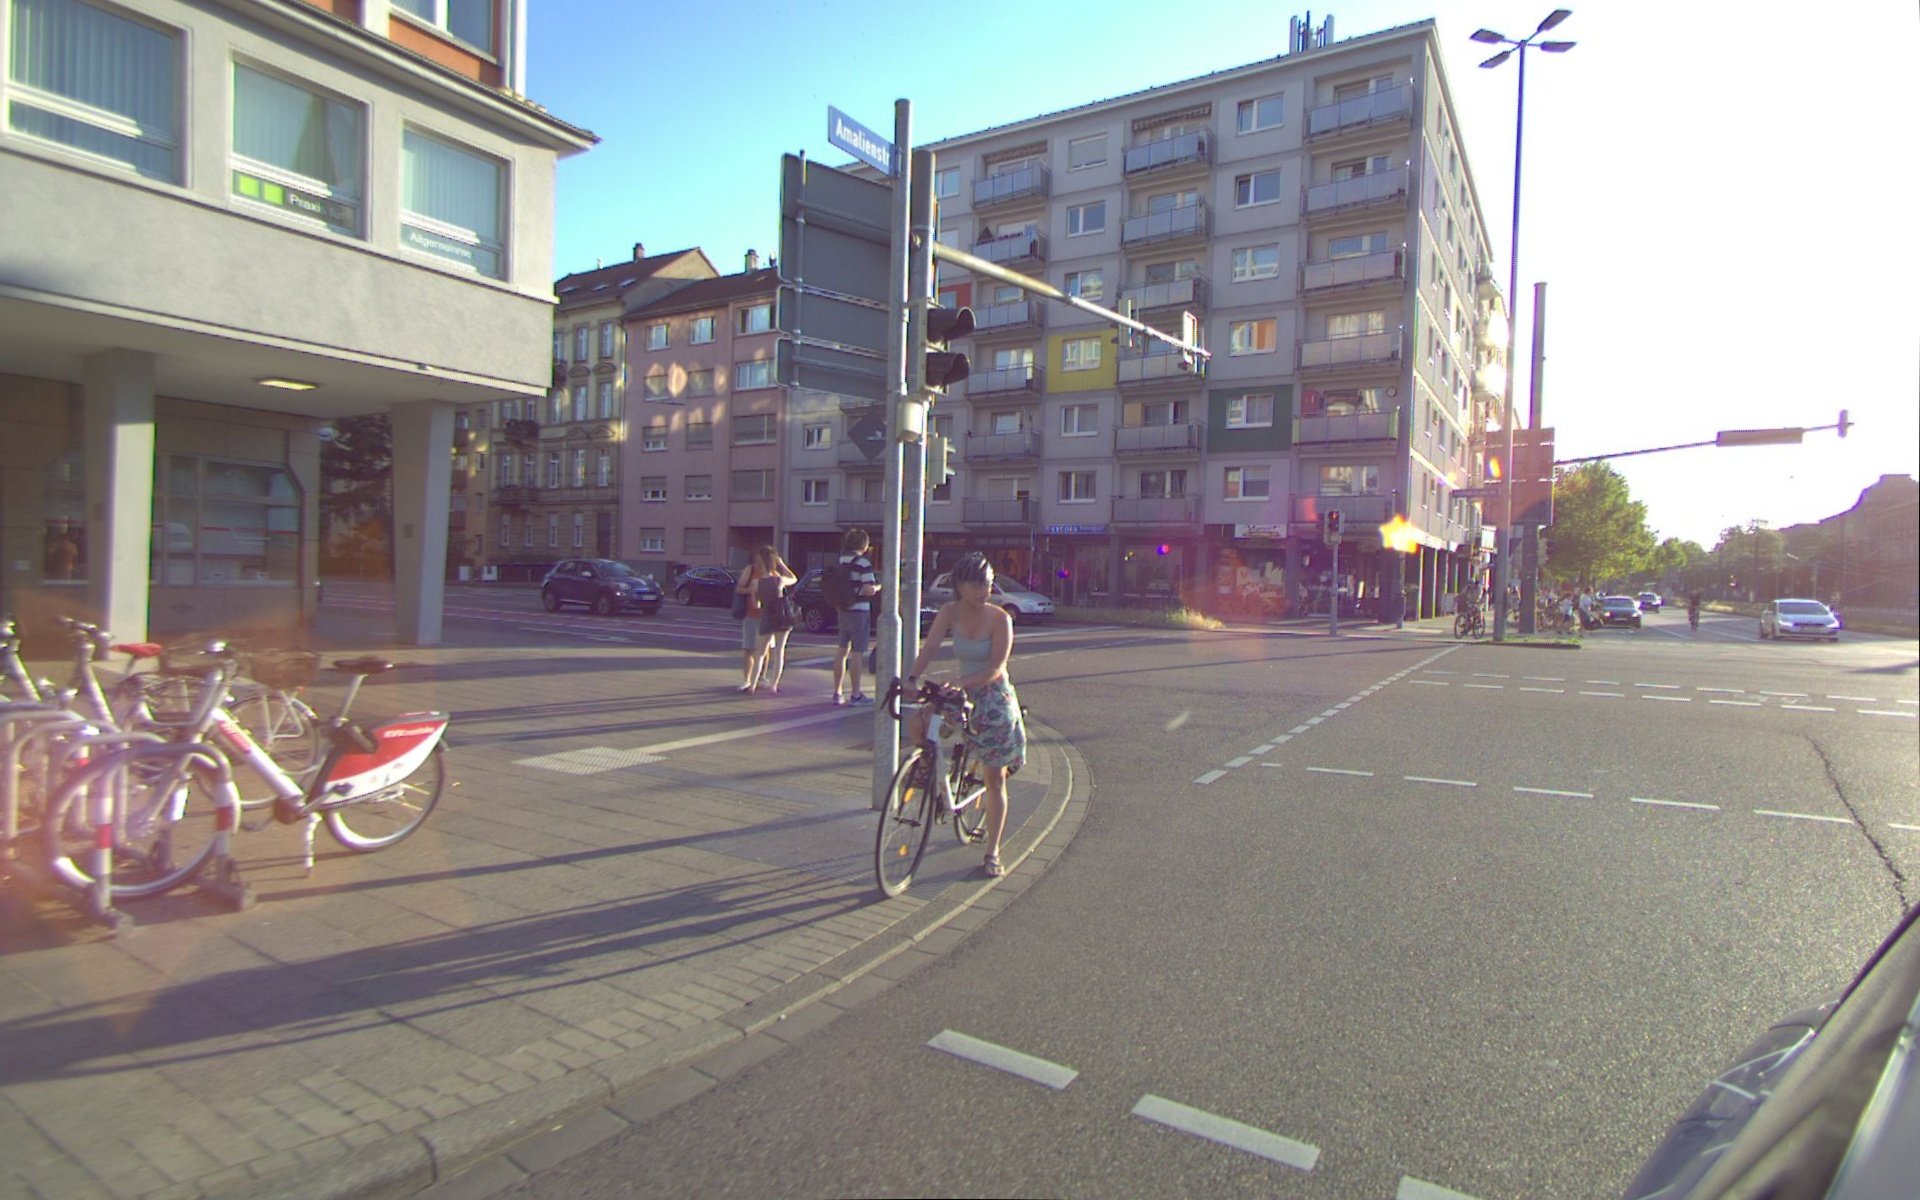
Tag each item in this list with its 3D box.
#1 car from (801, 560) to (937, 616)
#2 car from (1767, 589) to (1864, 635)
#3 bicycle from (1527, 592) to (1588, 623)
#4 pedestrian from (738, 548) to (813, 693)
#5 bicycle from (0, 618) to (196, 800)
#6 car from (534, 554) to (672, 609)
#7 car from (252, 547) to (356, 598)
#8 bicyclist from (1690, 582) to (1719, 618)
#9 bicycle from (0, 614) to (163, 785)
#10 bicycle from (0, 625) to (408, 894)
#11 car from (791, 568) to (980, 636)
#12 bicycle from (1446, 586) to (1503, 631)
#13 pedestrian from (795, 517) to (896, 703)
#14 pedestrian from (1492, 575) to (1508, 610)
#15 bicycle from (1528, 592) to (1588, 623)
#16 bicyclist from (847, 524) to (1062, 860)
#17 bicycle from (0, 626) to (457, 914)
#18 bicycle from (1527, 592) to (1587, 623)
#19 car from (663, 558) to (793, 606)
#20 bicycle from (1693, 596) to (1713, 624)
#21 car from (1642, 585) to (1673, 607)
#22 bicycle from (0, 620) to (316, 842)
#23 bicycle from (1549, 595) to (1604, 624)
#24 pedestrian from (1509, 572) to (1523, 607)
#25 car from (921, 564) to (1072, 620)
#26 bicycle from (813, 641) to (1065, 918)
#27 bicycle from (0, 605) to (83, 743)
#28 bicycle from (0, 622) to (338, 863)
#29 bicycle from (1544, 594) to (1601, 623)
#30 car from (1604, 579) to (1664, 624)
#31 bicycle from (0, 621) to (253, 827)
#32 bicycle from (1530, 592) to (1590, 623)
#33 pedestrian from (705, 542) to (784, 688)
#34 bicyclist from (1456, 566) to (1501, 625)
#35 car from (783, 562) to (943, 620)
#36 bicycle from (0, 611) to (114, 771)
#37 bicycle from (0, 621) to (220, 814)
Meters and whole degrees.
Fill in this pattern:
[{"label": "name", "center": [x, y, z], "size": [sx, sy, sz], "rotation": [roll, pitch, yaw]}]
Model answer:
[{"label": "car", "center": [-2.879, -0.406, 31.556], "size": [4.157, 1.541, 1.638], "rotation": [3, 2, 36]}, {"label": "car", "center": [30.257, 0.394, 35.909], "size": [1.940, 1.512, 3.916], "rotation": [1, 1, 30]}, {"label": "bicycle", "center": [22.490, 0.276, 38.134], "size": [1.946, 1.134, 0.452], "rotation": [2, 0, 36]}, {"label": "pedestrian", "center": [-2.192, 0.221, 12.056], "size": [0.515, 1.665, 0.698], "rotation": [2, 1, 36]}, {"label": "bicycle", "center": [-5.733, 0.650, 6.145], "size": [0.361, 1.040, 1.778], "rotation": [1, 1, 25]}, {"label": "car", "center": [-10.467, -0.560, 29.608], "size": [3.894, 1.469, 1.784], "rotation": [2, 1, 32]}, {"label": "car", "center": [-21.682, -0.913, 33.404], "size": [4.090, 1.596, 1.717], "rotation": [2, 1, 39]}, {"label": "bicyclist", "center": [33.336, 0.006, 45.335], "size": [0.989, 1.557, 0.912], "rotation": [1, 0, 34]}, {"label": "bicycle", "center": [-6.119, 0.627, 6.347], "size": [0.361, 1.040, 1.778], "rotation": [1, 1, 25]}, {"label": "bicycle", "center": [-3.665, 0.670, 4.973], "size": [0.357, 1.040, 1.777], "rotation": [1, 1, 27]}, {"label": "car", "center": [-1.780, -0.015, 23.825], "size": [4.159, 1.443, 1.910], "rotation": [1, 3, 33]}, {"label": "bicycle", "center": [14.078, 0.226, 27.678], "size": [1.933, 1.197, 0.491], "rotation": [1, 0, -33]}, {"label": "pedestrian", "center": [-1.275, 0.091, 11.299], "size": [0.698, 1.981, 0.837], "rotation": [3, 2, 35]}, {"label": "pedestrian", "center": [31.778, -0.443, 59.553], "size": [0.713, 2.039, 0.639], "rotation": [2, 1, 34]}, {"label": "bicycle", "center": [23.050, 0.285, 39.012], "size": [1.946, 1.134, 0.452], "rotation": [2, 0, 36]}, {"label": "bicyclist", "center": [-0.007, 0.399, 5.053], "size": [0.790, 1.499, 0.800], "rotation": [1, 0, 26]}, {"label": "bicycle", "center": [-3.275, 0.673, 4.751], "size": [0.357, 1.040, 1.778], "rotation": [1, 1, 26]}, {"label": "bicycle", "center": [22.753, 0.282, 38.577], "size": [1.946, 1.134, 0.452], "rotation": [2, 0, 36]}, {"label": "car", "center": [-8.074, -0.641, 35.065], "size": [4.505, 1.514, 1.686], "rotation": [2, 1, 32]}, {"label": "bicycle", "center": [33.355, 0.417, 45.434], "size": [0.571, 1.215, 2.180], "rotation": [1, 1, 32]}, {"label": "car", "center": [57.695, -0.331, 83.748], "size": [1.987, 1.771, 3.950], "rotation": [2, 1, 35]}, {"label": "bicycle", "center": [-4.580, 0.659, 5.610], "size": [0.365, 1.040, 1.778], "rotation": [1, 1, 25]}, {"label": "bicycle", "center": [25.884, 0.391, 42.512], "size": [1.946, 1.134, 0.452], "rotation": [2, 0, 36]}, {"label": "pedestrian", "center": [32.732, -0.634, 59.546], "size": [0.651, 2.039, 0.742], "rotation": [0, 0, 34]}, {"label": "car", "center": [0.995, -0.267, 28.921], "size": [3.992, 1.487, 1.893], "rotation": [2, 1, 39]}, {"label": "bicycle", "center": [-0.018, 0.774, 5.073], "size": [0.510, 1.040, 1.778], "rotation": [1, 1, 25]}, {"label": "bicycle", "center": [-7.601, 0.565, 7.415], "size": [0.361, 1.040, 1.778], "rotation": [1, 1, 25]}, {"label": "bicycle", "center": [-4.206, 0.660, 5.222], "size": [0.357, 1.040, 1.778], "rotation": [1, 1, 26]}, {"label": "bicycle", "center": [25.257, 0.360, 41.754], "size": [1.946, 1.134, 0.452], "rotation": [2, 0, 36]}, {"label": "car", "center": [32.353, 0.067, 48.670], "size": [1.982, 2.039, 3.960], "rotation": [1, 1, 28]}, {"label": "bicycle", "center": [-5.040, 0.665, 5.701], "size": [0.357, 1.040, 1.778], "rotation": [1, 1, 26]}, {"label": "bicycle", "center": [23.373, 0.282, 39.442], "size": [1.946, 1.134, 0.452], "rotation": [2, 0, 36]}, {"label": "pedestrian", "center": [-2.628, 0.167, 12.376], "size": [0.515, 1.714, 0.762], "rotation": [3, 2, 36]}, {"label": "bicyclist", "center": [14.225, -0.120, 27.753], "size": [0.719, 1.587, 0.824], "rotation": [1, 0, -30]}, {"label": "car", "center": [-2.705, -0.273, 27.845], "size": [4.221, 1.487, 1.972], "rotation": [2, 1, 39]}, {"label": "bicycle", "center": [-6.611, 0.609, 6.526], "size": [0.361, 1.040, 1.778], "rotation": [1, 1, 25]}, {"label": "bicycle", "center": [-5.412, 0.668, 5.920], "size": [0.357, 1.040, 1.778], "rotation": [1, 1, 26]}]
